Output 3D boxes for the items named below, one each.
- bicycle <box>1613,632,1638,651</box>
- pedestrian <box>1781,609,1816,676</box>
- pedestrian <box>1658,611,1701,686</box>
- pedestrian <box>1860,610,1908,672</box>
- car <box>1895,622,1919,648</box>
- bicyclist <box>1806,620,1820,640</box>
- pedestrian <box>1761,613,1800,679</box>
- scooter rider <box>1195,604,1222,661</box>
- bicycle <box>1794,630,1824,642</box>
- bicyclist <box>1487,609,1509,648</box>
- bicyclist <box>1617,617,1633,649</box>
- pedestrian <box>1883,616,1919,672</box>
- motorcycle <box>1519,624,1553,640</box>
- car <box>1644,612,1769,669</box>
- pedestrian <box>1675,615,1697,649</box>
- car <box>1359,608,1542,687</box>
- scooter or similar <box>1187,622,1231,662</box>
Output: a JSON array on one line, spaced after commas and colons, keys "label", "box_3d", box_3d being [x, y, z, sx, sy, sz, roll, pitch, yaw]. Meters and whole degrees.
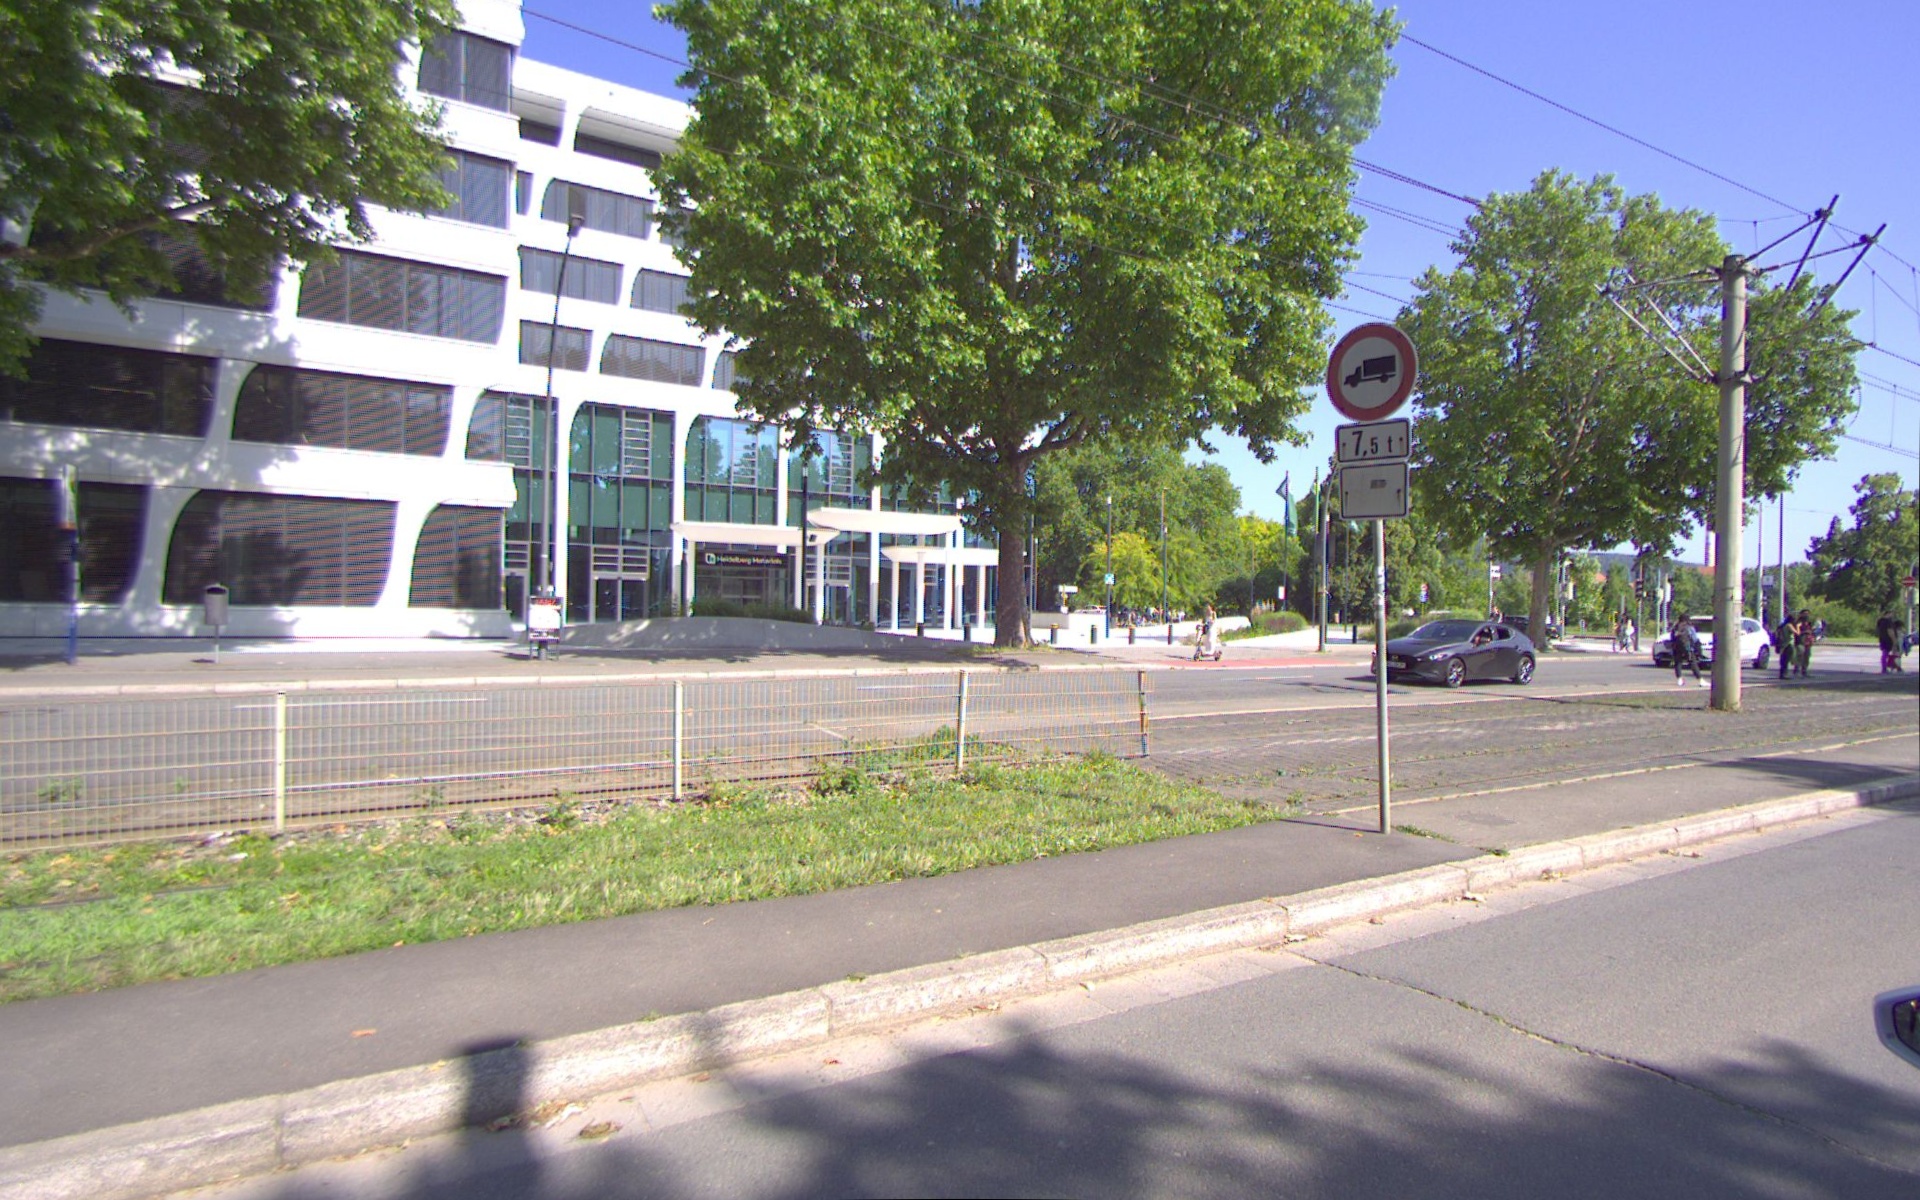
[{"label": "bicycle", "box_3d": [28.011, 1.754, 42.266, 1.132, 0.758, 0.418, 1, 0, -30]}, {"label": "pedestrian", "box_3d": [21.890, 1.101, 26.228, 0.636, 1.702, 0.490, 1, 0, -30]}, {"label": "pedestrian", "box_3d": [16.255, 1.073, 22.698, 0.747, 1.645, 0.593, 1, 0, 35]}, {"label": "pedestrian", "box_3d": [26.873, 1.192, 29.211, 0.743, 1.757, 0.773, 1, 0, -22]}, {"label": "car", "box_3d": [60.135, 2.162, 62.513, 3.899, 1.539, 1.821, 1, 0, -30]}, {"label": "bicyclist", "box_3d": [57.020, 1.984, 67.159, 0.487, 1.309, 0.475, 1, 0, -1]}, {"label": "pedestrian", "box_3d": [21.025, 1.168, 25.733, 0.548, 1.668, 0.590, 1, 0, -30]}, {"label": "scooter rider", "box_3d": [7.358, 0.952, 29.782, 0.559, 1.653, 0.504, 1, 0, -30]}, {"label": "bicycle", "box_3d": [56.770, 2.411, 67.157, 1.590, 0.741, 0.493, 1, 0, -2]}, {"label": "bicyclist", "box_3d": [20.030, 1.054, 37.371, 0.585, 1.435, 0.477, 1, 0, -31]}, {"label": "bicyclist", "box_3d": [27.947, 1.374, 42.220, 0.460, 1.329, 0.383, 1, 0, -30]}, {"label": "pedestrian", "box_3d": [27.567, 1.274, 29.406, 0.567, 1.619, 0.537, 1, 0, -11]}, {"label": "motorcycle", "box_3d": [34.671, 1.910, 60.477, 0.642, 0.903, 1.636, 1, 0, -30]}, {"label": "car", "box_3d": [23.206, 1.235, 31.222, 3.815, 1.630, 1.755, 1, 0, -30]}, {"label": "pedestrian", "box_3d": [33.894, 1.492, 46.879, 0.637, 1.562, 0.619, 1, 0, -31]}, {"label": "car", "box_3d": [11.205, 1.029, 22.901, 3.953, 1.630, 1.862, 1, 0, -30]}, {"label": "scooter or similar", "box_3d": [7.380, 1.239, 29.805, 1.233, 1.127, 0.545, 1, 0, -30]}]
